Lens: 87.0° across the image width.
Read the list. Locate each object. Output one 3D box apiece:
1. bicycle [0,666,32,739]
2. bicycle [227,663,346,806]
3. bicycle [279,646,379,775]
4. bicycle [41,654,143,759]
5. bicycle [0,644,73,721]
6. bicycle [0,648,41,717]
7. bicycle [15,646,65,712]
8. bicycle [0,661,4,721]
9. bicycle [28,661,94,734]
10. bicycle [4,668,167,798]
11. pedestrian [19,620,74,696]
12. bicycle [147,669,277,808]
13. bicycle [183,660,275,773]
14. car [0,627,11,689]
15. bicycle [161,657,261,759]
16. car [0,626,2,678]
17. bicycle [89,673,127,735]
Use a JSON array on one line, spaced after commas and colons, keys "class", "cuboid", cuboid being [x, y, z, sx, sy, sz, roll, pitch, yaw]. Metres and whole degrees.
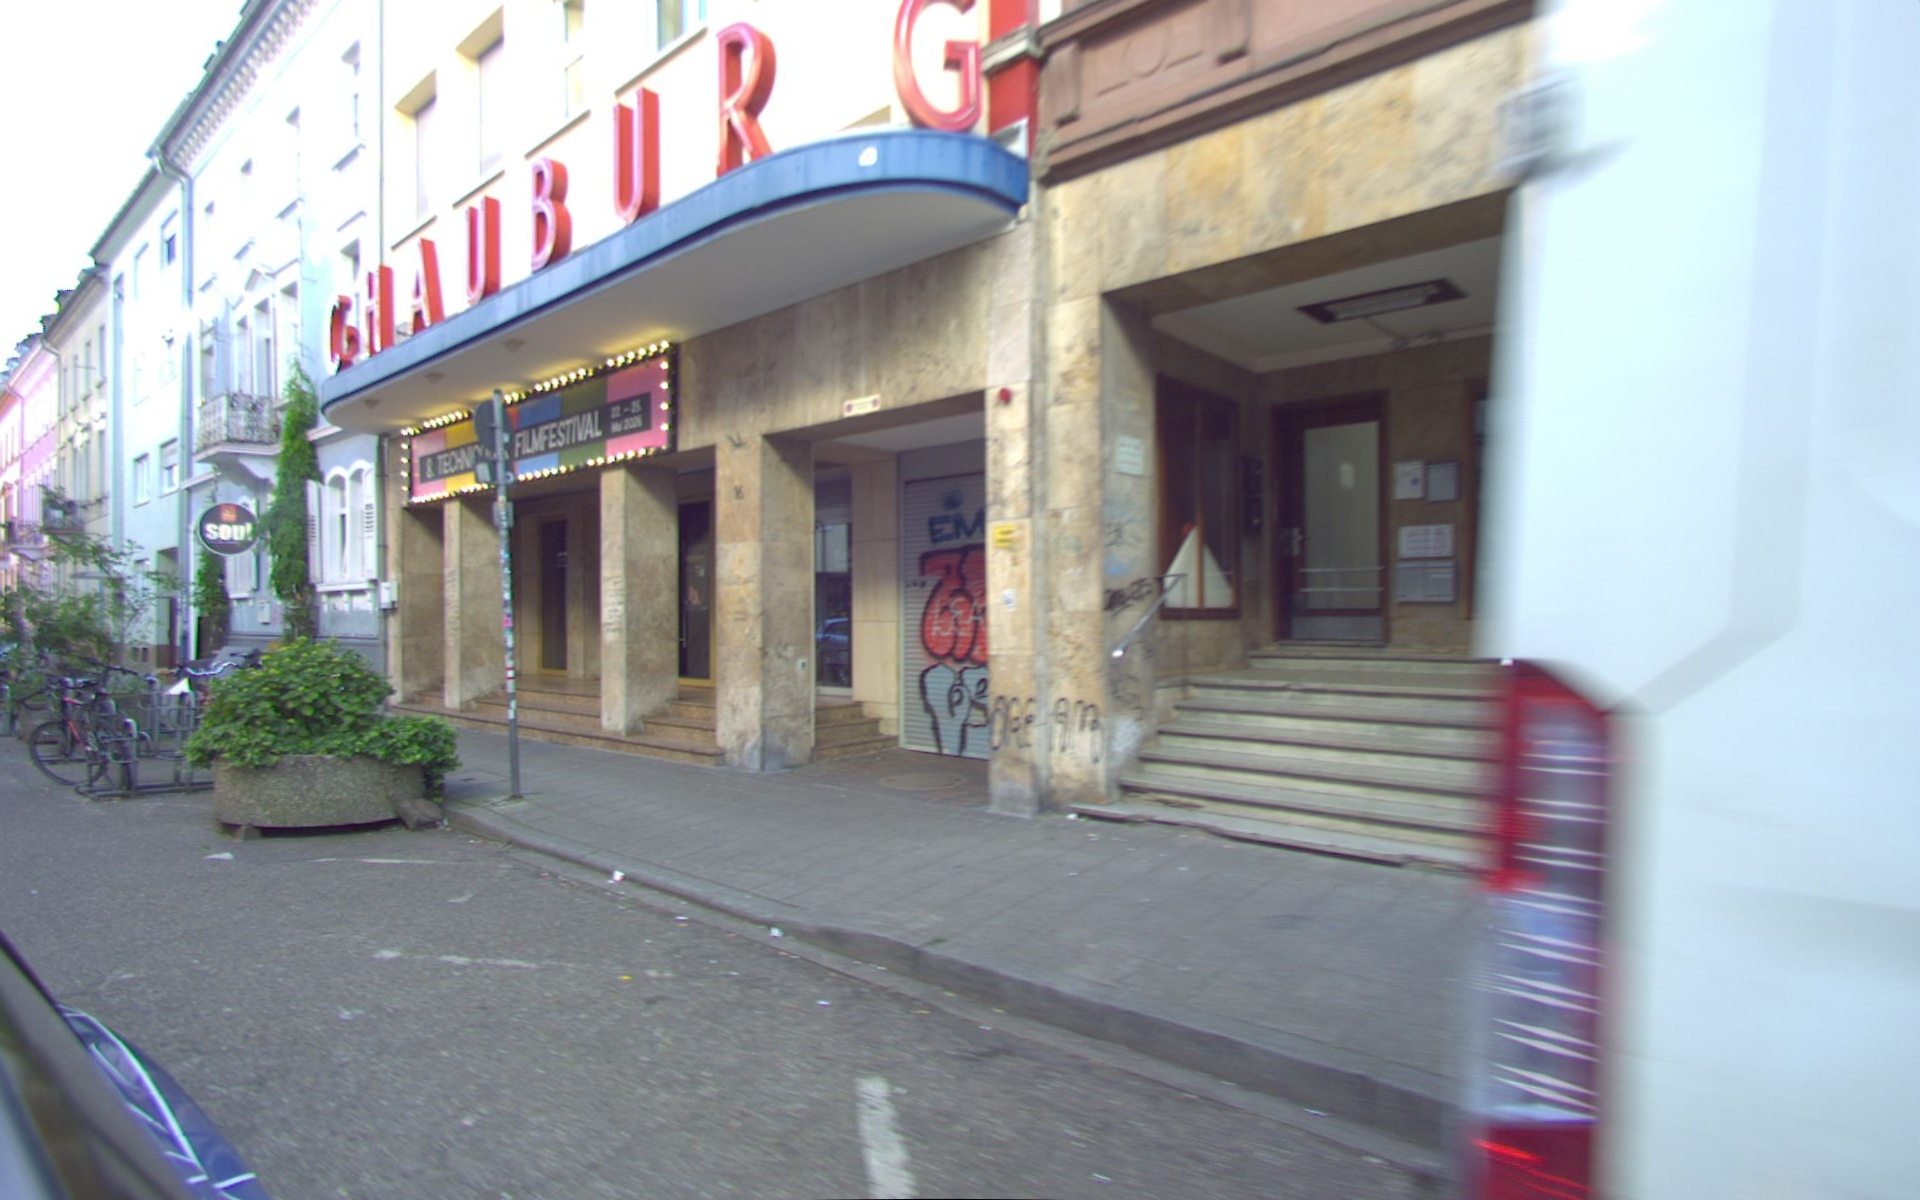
[{"class": "bicycle", "cuboid": [-13.177, 1.401, 13.983, 1.392, 0.923, 0.386, -2, -2, 42]}, {"class": "bicycle", "cuboid": [-6.288, 1.205, 9.417, 1.667, 1.182, 0.395, -1, 0, 38]}, {"class": "bicycle", "cuboid": [-6.287, 1.062, 10.060, 1.488, 1.182, 0.335, -1, 0, 38]}, {"class": "bicycle", "cuboid": [-10.204, 1.206, 11.876, 1.879, 1.102, 0.541, -1, 0, 38]}, {"class": "bicycle", "cuboid": [-15.169, 1.323, 16.600, 0.919, 1.184, 0.805, -1, -1, 39]}, {"class": "bicycle", "cuboid": [-16.455, 1.409, 17.644, 1.931, 1.114, 0.438, -1, -1, 41]}, {"class": "bicycle", "cuboid": [-16.555, 1.393, 18.198, 1.873, 1.114, 0.439, -1, -1, 40]}, {"class": "bicycle", "cuboid": [-15.570, 1.439, 16.175, 1.290, 0.923, 0.318, -2, -2, 42]}, {"class": "bicycle", "cuboid": [-13.042, 1.393, 14.670, 1.571, 0.951, 0.548, -2, -2, 42]}, {"class": "bicycle", "cuboid": [-7.911, 1.161, 9.137, 1.740, 1.055, 0.458, -1, 0, 26]}, {"class": "pedestrian", "cuboid": [-21.313, 1.335, 23.623, 0.703, 1.720, 0.674, -1, 0, -16]}, {"class": "bicycle", "cuboid": [-6.649, 1.177, 8.961, 1.862, 1.055, 0.438, -1, 0, 38]}, {"class": "bicycle", "cuboid": [-7.563, 1.174, 10.448, 1.316, 1.055, 0.413, -1, 0, 38]}, {"class": "car", "cuboid": [-24.646, 1.398, 24.951, 1.661, 1.466, 4.035, 3, -3, -45]}, {"class": "bicycle", "cuboid": [-8.626, 1.211, 11.638, 1.407, 1.053, 0.568, -1, -1, 38]}, {"class": "car", "cuboid": [-28.655, 1.466, 28.714, 3.998, 1.463, 1.771, -2, -2, 41]}, {"class": "bicycle", "cuboid": [-12.330, 1.489, 14.641, 1.299, 0.824, 0.253, -2, -1, 42]}]
